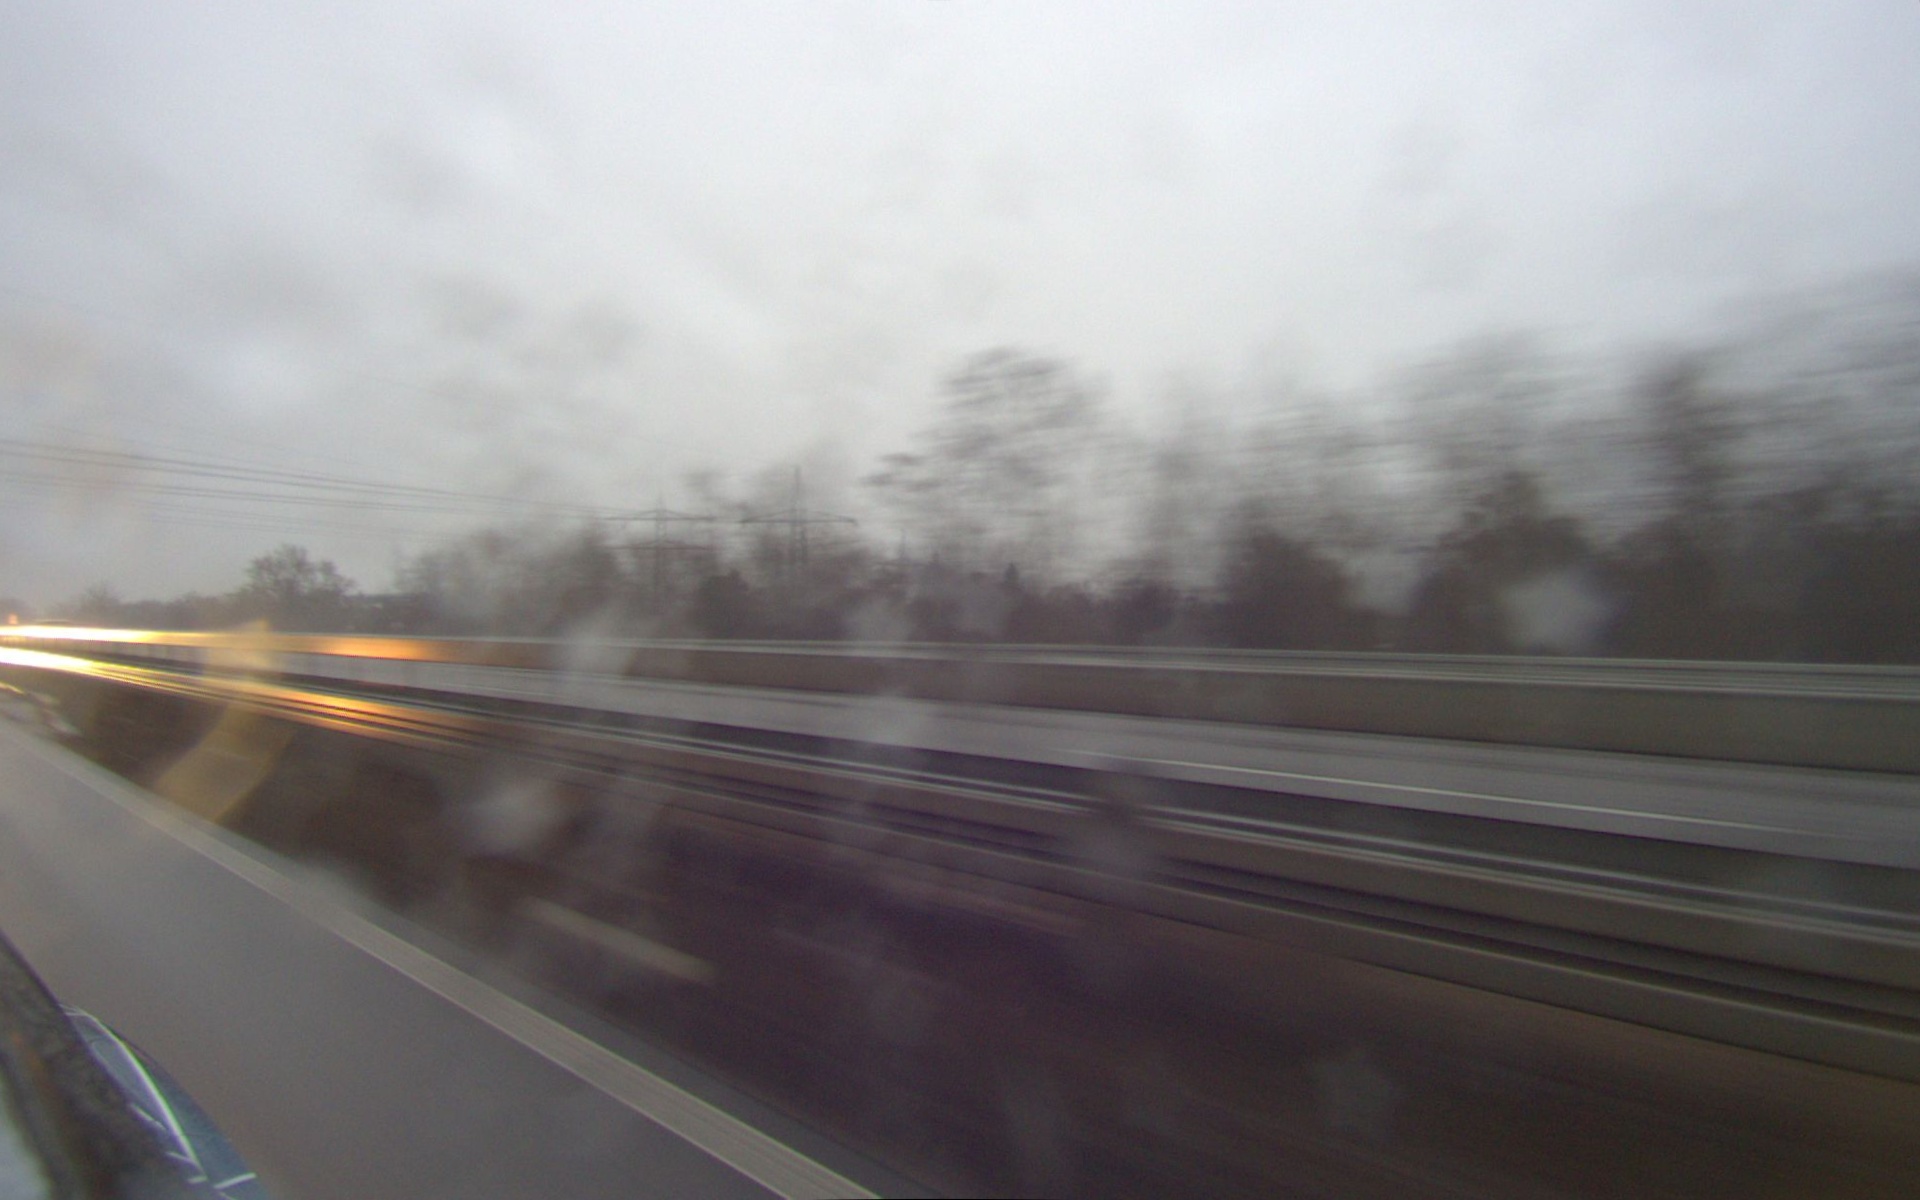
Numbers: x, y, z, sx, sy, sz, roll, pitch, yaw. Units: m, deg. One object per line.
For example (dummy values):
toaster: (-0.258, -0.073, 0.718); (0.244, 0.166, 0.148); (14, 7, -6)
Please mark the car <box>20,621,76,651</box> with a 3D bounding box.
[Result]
car: (-43.383, 1.689, 48.126); (3.716, 1.349, 1.523); (-1, -2, 41)
